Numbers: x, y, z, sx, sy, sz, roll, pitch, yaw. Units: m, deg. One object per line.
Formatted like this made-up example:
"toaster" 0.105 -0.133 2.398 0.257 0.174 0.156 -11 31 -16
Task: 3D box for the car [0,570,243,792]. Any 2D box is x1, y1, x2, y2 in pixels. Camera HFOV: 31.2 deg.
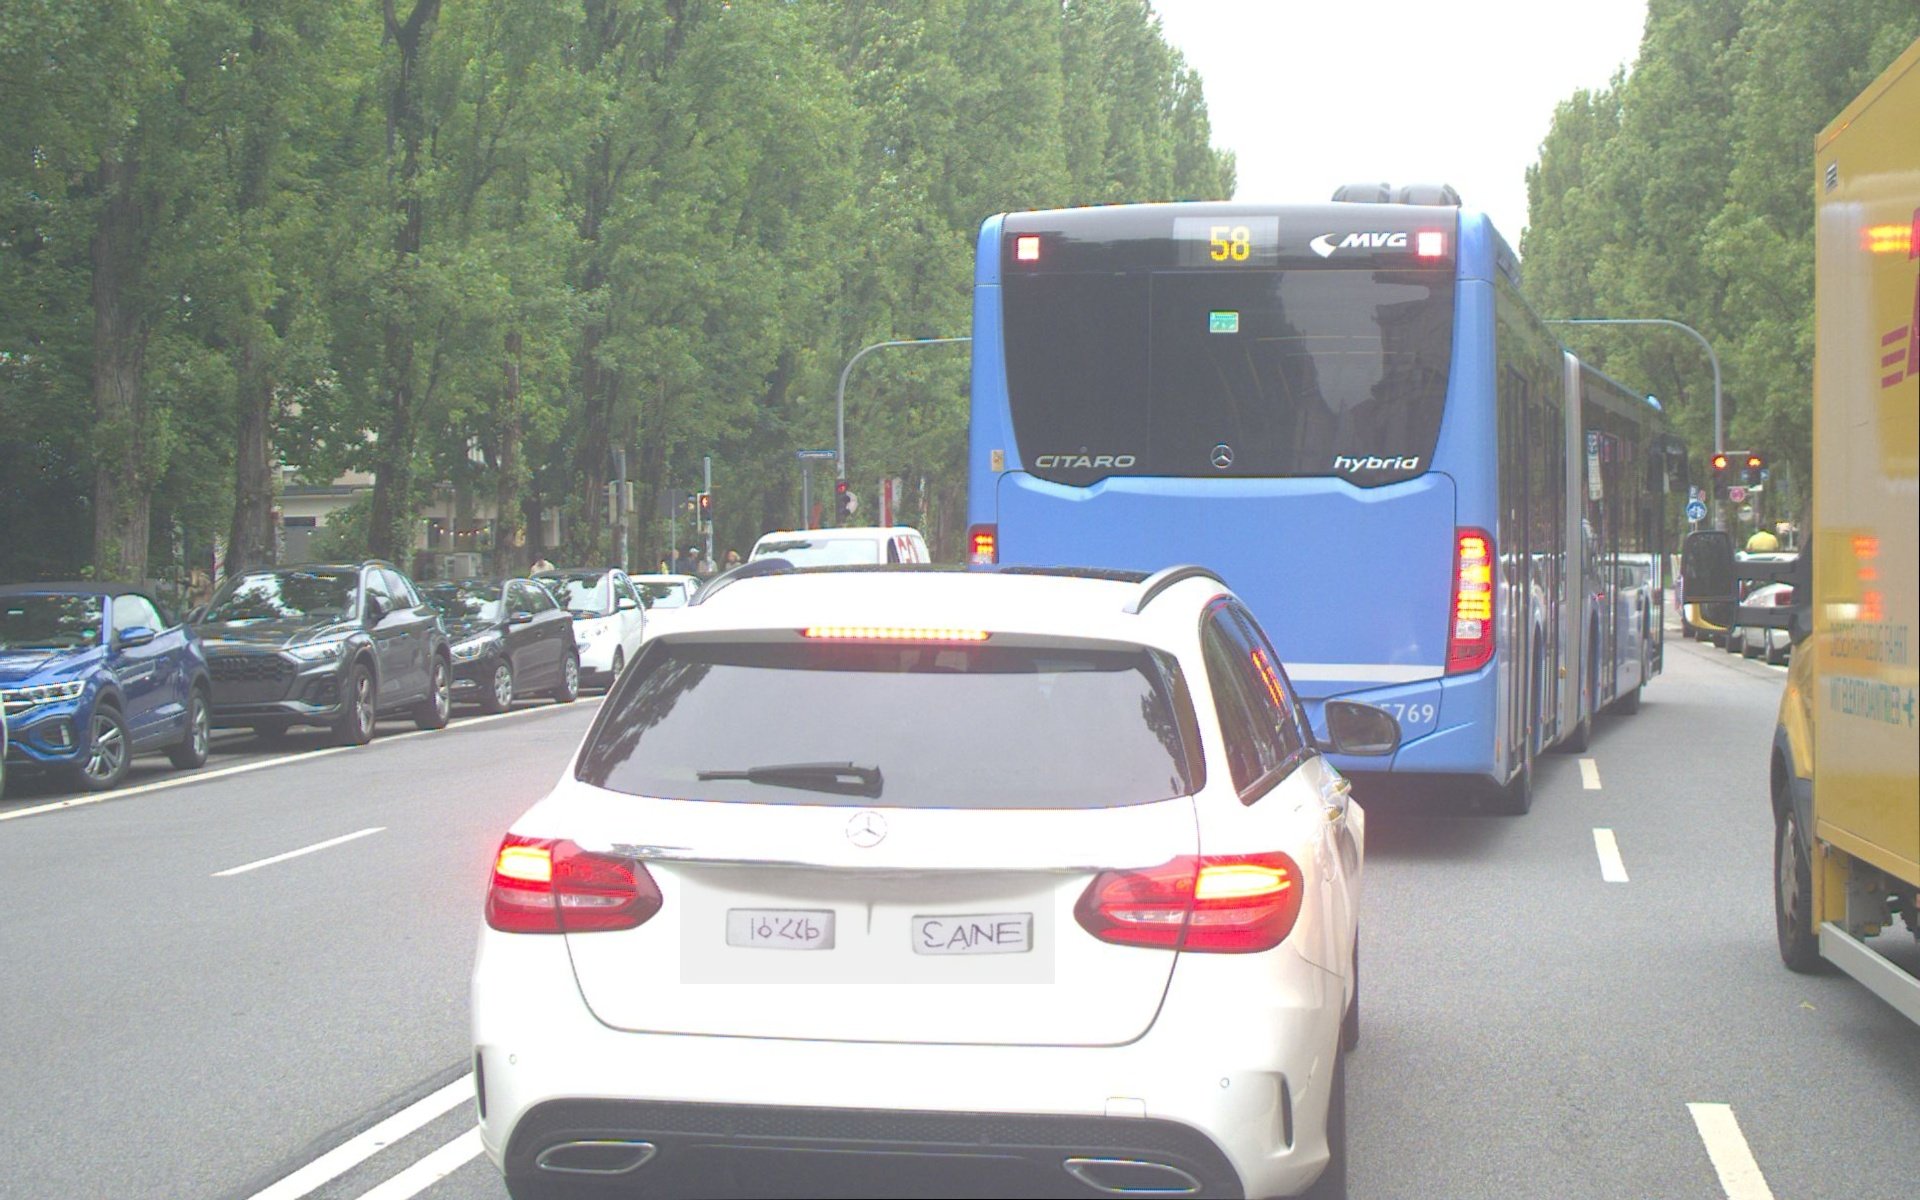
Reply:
"car" -6.903 0.578 26.373 1.743 1.513 4.118 -2 1 2

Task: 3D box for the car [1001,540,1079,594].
"car" 2.313 -0.965 98.826 1.822 1.481 3.999 -1 1 7

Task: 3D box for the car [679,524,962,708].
"car" -1.502 0.125 39.775 2.183 1.885 5.694 -2 1 8

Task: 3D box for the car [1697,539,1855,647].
"car" 11.943 -0.131 50.496 1.786 1.486 3.999 -1 1 7

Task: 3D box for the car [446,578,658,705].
"car" -4.951 0.472 42.223 1.675 1.408 3.999 -1 1 7

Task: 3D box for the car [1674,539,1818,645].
"car" 12.666 -0.161 55.607 1.809 1.612 3.999 -1 1 6

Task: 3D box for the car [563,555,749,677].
"car" -4.076 0.183 46.653 1.708 1.542 3.999 -1 1 7

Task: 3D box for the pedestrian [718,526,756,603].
"pedestrian" -5.858 -0.937 90.273 0.830 2.007 0.777 -1 1 6

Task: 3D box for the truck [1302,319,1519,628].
"truck" 6.287 -1.724 49.107 2.716 3.952 9.216 -1 1 6

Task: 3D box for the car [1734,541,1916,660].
"car" 11.362 -0.028 45.386 1.799 1.470 3.999 -1 1 7

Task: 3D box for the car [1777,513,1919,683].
"car" 10.347 -0.066 39.194 1.704 1.829 3.999 1 1 9

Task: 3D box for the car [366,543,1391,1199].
"car" 0.116 0.588 8.515 1.826 1.449 4.581 0 1 8

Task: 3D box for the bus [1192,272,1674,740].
"bus" 4.329 -0.745 29.246 2.874 3.292 9.783 0 1 15

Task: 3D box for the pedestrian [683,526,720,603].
"pedestrian" -6.776 -0.931 90.158 0.830 2.007 0.777 -1 1 6

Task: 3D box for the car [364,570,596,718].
"car" -5.261 0.447 38.119 1.540 1.428 3.868 -4 0 7

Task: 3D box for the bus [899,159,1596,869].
"bus" 2.112 -0.479 20.238 2.857 3.202 9.055 0 1 13

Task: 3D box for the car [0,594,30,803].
"car" -7.533 0.733 21.893 1.685 1.408 4.004 -2 1 7

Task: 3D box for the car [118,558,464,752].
"car" -6.028 0.446 31.520 1.791 1.542 4.337 -4 0 7

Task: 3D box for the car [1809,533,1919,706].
"car" 9.456 0.147 33.852 1.678 1.590 4.086 1 1 8

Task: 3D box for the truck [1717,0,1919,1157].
"truck" 3.626 -0.123 9.435 2.328 2.888 7.331 0 1 7
